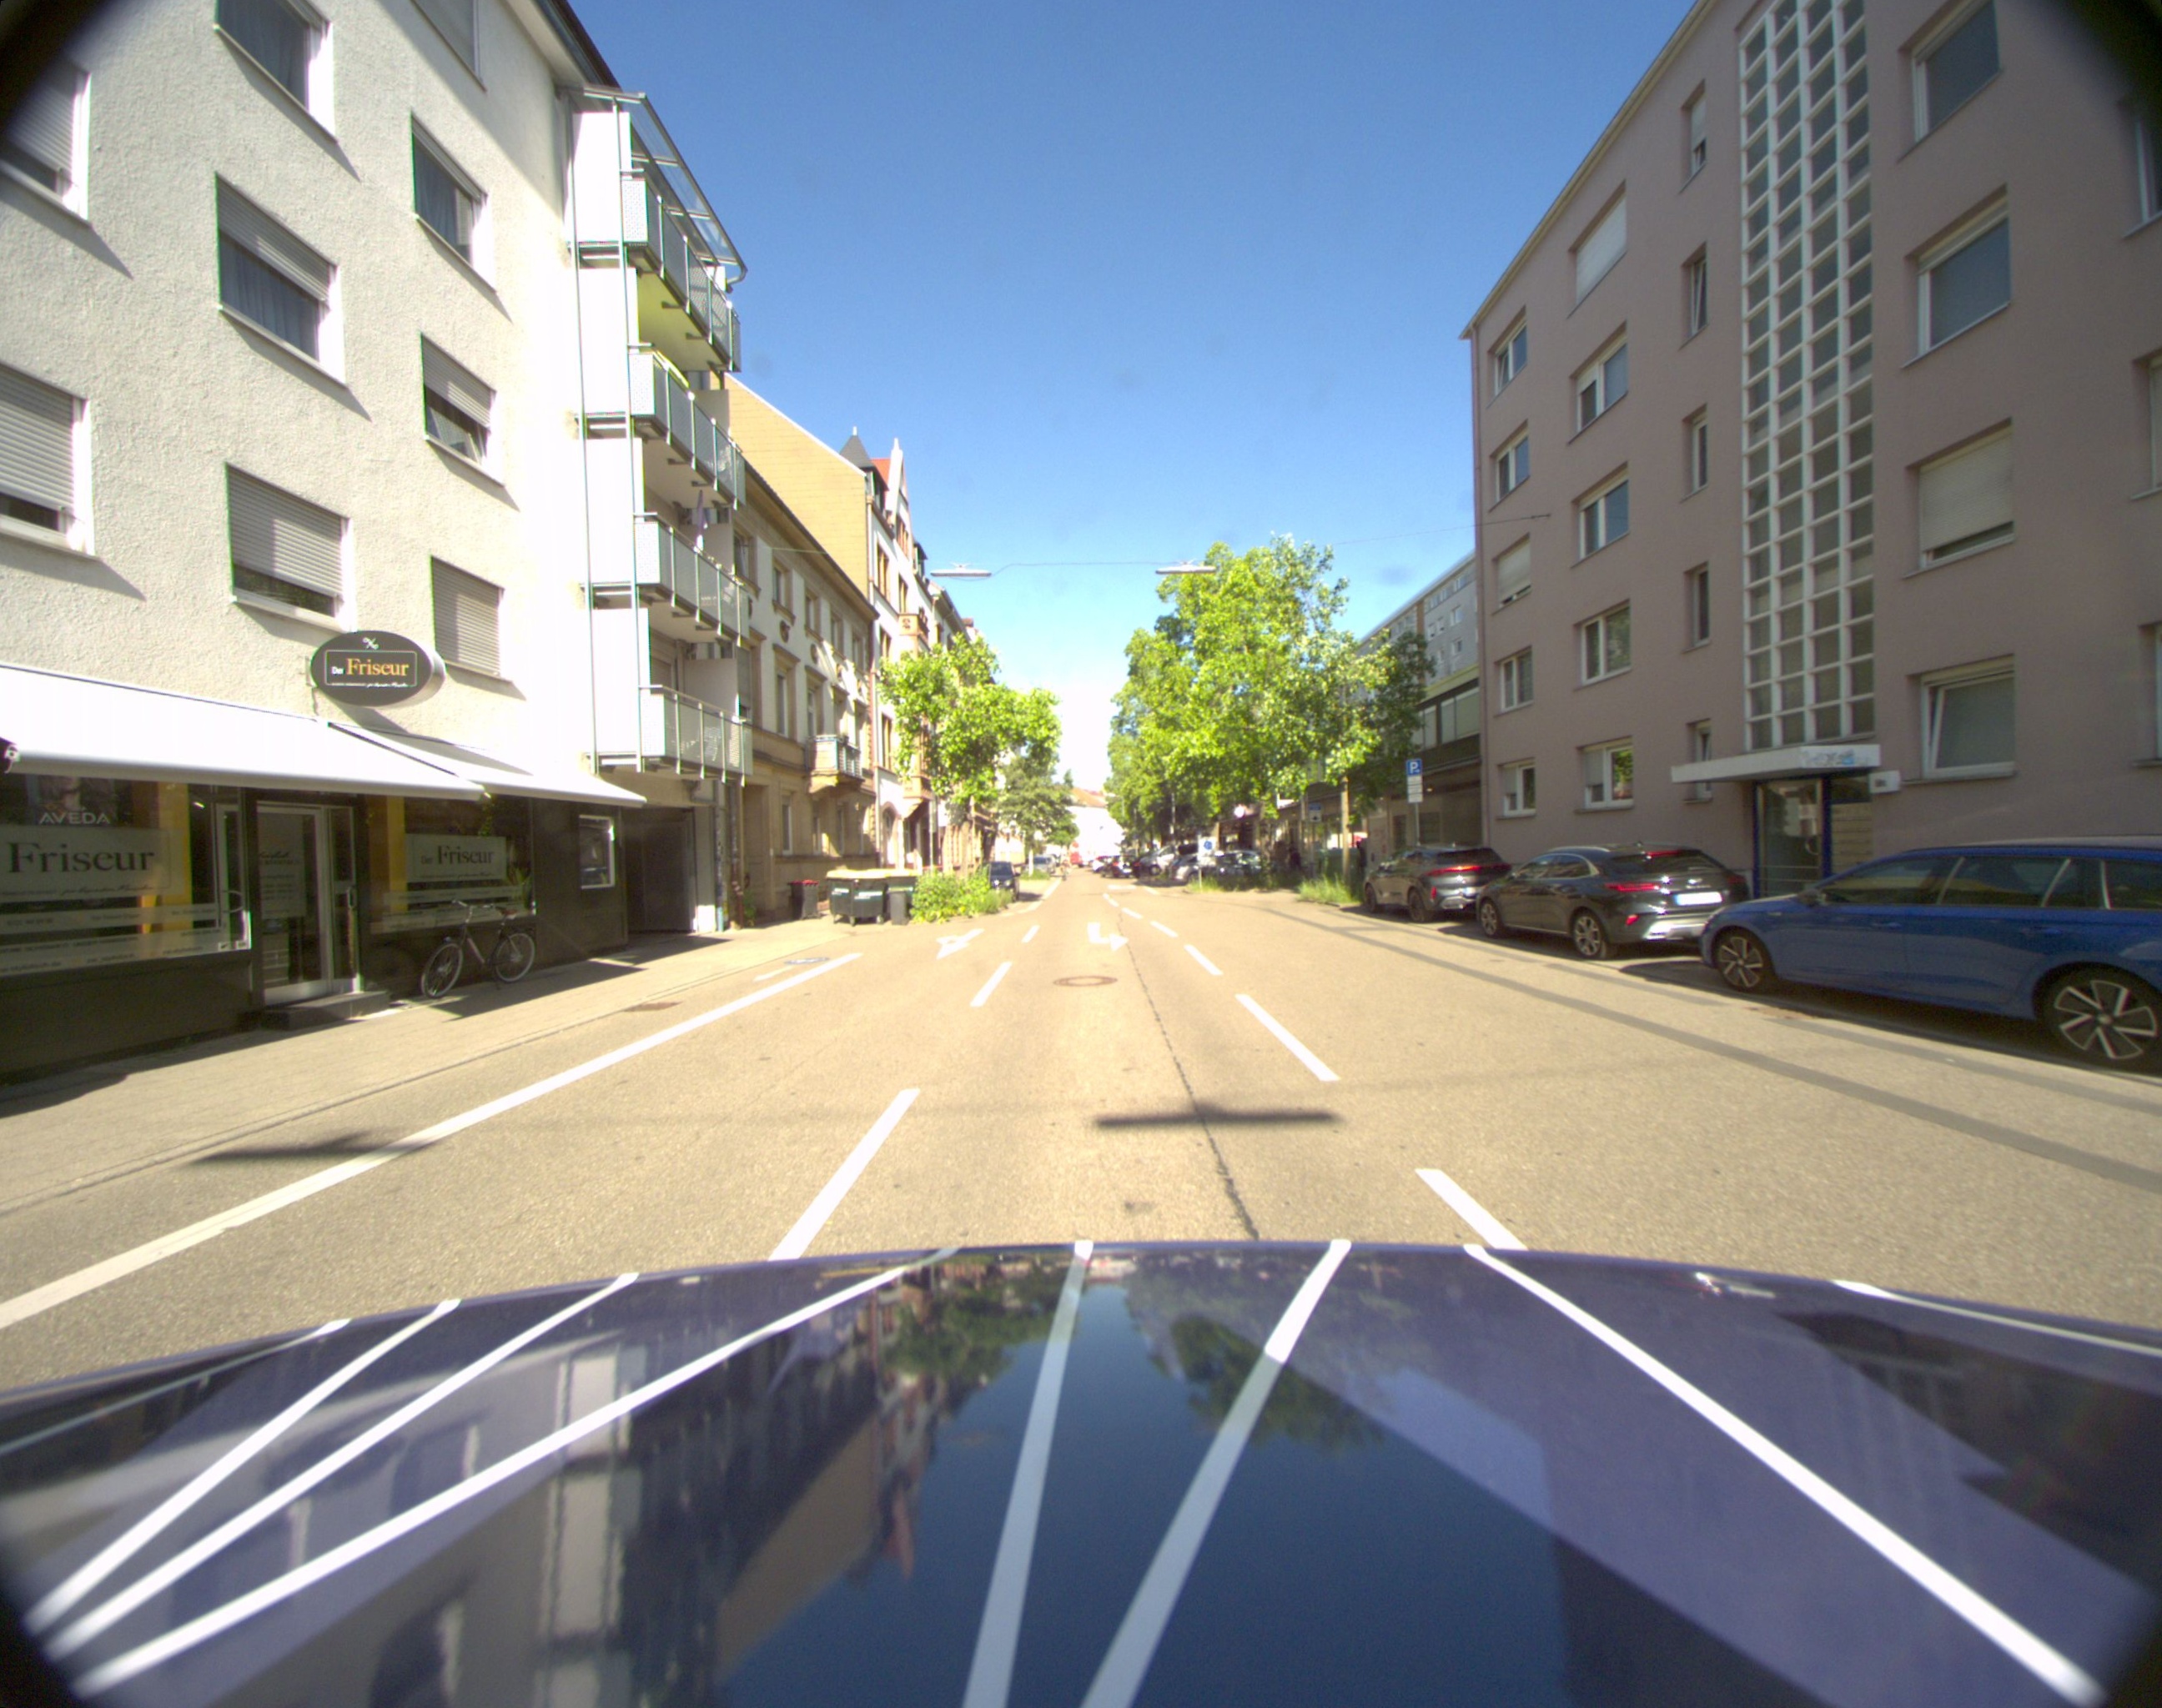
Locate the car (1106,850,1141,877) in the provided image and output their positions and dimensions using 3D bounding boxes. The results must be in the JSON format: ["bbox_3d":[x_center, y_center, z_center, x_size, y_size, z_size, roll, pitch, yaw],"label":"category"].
[{"bbox_3d":[2.530,0.540,46.042,1.911,1.543,4.000,-2,0,0],"label":"car"}]

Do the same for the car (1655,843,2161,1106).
[{"bbox_3d":[7.427,0.720,6.157,1.828,1.494,4.801,-4,0,-1],"label":"car"}]

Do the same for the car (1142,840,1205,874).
[{"bbox_3d":[5.907,0.187,48.934,3.875,2.031,1.913,-2,1,3],"label":"car"}]

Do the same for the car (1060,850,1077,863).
[{"bbox_3d":[-1.367,0.309,87.223,1.713,1.444,3.547,-2,0,2],"label":"car"}]

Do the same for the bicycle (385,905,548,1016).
[{"bbox_3d":[-7.675,1.285,9.603,0.598,1.137,1.774,1,0,1],"label":"bicycle"}]

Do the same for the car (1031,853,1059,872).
[{"bbox_3d":[-2.811,0.641,59.947,1.914,1.444,3.547,-2,0,1],"label":"car"}]

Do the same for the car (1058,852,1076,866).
[{"bbox_3d":[-1.508,0.505,81.534,1.713,1.444,3.547,-2,0,2],"label":"car"}]

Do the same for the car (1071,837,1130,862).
[{"bbox_3d":[1.928,-0.446,75.142,5.570,2.379,1.973,-2,1,-32],"label":"car"}]

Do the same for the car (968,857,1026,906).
[{"bbox_3d":[-2.969,0.944,27.398,1.627,1.587,3.546,-2,0,1],"label":"car"}]

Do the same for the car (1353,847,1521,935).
[{"bbox_3d":[7.478,0.687,16.462,1.727,1.567,4.158,-4,0,2],"label":"car"}]

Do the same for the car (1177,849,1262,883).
[{"bbox_3d":[6.915,0.575,38.219,3.996,1.543,1.913,-2,1,3],"label":"car"}]

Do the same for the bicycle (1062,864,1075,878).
[{"bbox_3d":[-0.726,1.022,45.637,0.582,0.801,1.710,-2,0,5],"label":"bicycle"}]

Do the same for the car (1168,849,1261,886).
[{"bbox_3d":[6.075,0.589,34.896,3.996,1.543,1.913,-2,1,3],"label":"car"}]

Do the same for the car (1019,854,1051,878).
[{"bbox_3d":[-3.002,0.762,49.999,1.914,1.444,3.546,-2,0,-1],"label":"car"}]

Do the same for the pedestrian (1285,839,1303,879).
[{"bbox_3d":[9.760,0.235,34.834,0.623,1.796,0.502,-2,1,1],"label":"pedestrian"}]

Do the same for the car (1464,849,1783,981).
[{"bbox_3d":[7.491,0.716,11.099,1.727,1.459,4.158,-4,0,2],"label":"car"}]

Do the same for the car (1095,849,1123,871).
[{"bbox_3d":[2.090,0.424,57.084,1.911,1.543,4.000,-2,0,0],"label":"car"}]

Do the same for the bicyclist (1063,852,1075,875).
[{"bbox_3d":[-0.731,0.566,45.618,0.582,1.369,0.665,-2,1,5],"label":"bicyclist"}]
